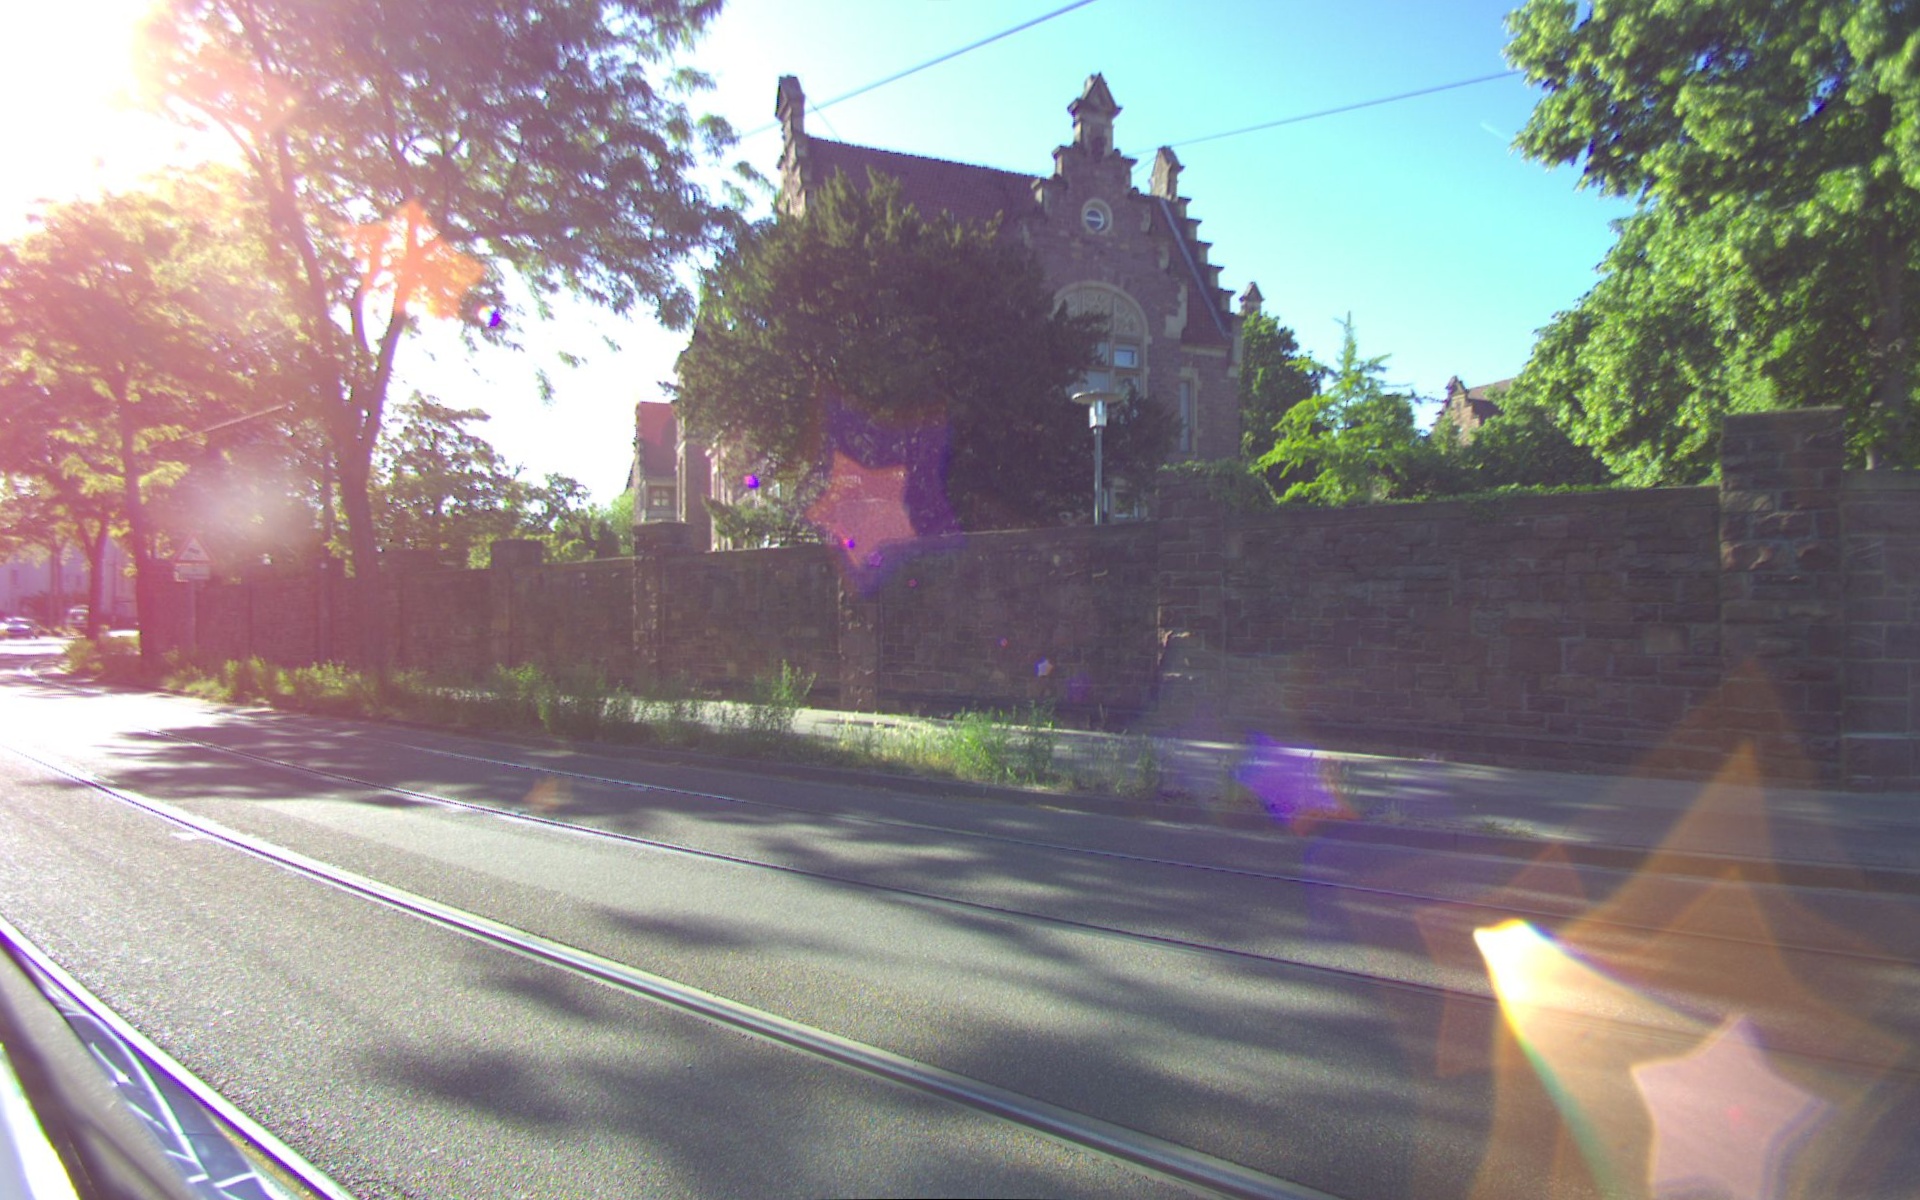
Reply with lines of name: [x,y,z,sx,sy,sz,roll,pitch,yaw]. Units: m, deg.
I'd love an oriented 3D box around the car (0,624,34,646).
car: [-68.907,2.519,73.826,1.969,1.560,4.005,0,-1,-41]
